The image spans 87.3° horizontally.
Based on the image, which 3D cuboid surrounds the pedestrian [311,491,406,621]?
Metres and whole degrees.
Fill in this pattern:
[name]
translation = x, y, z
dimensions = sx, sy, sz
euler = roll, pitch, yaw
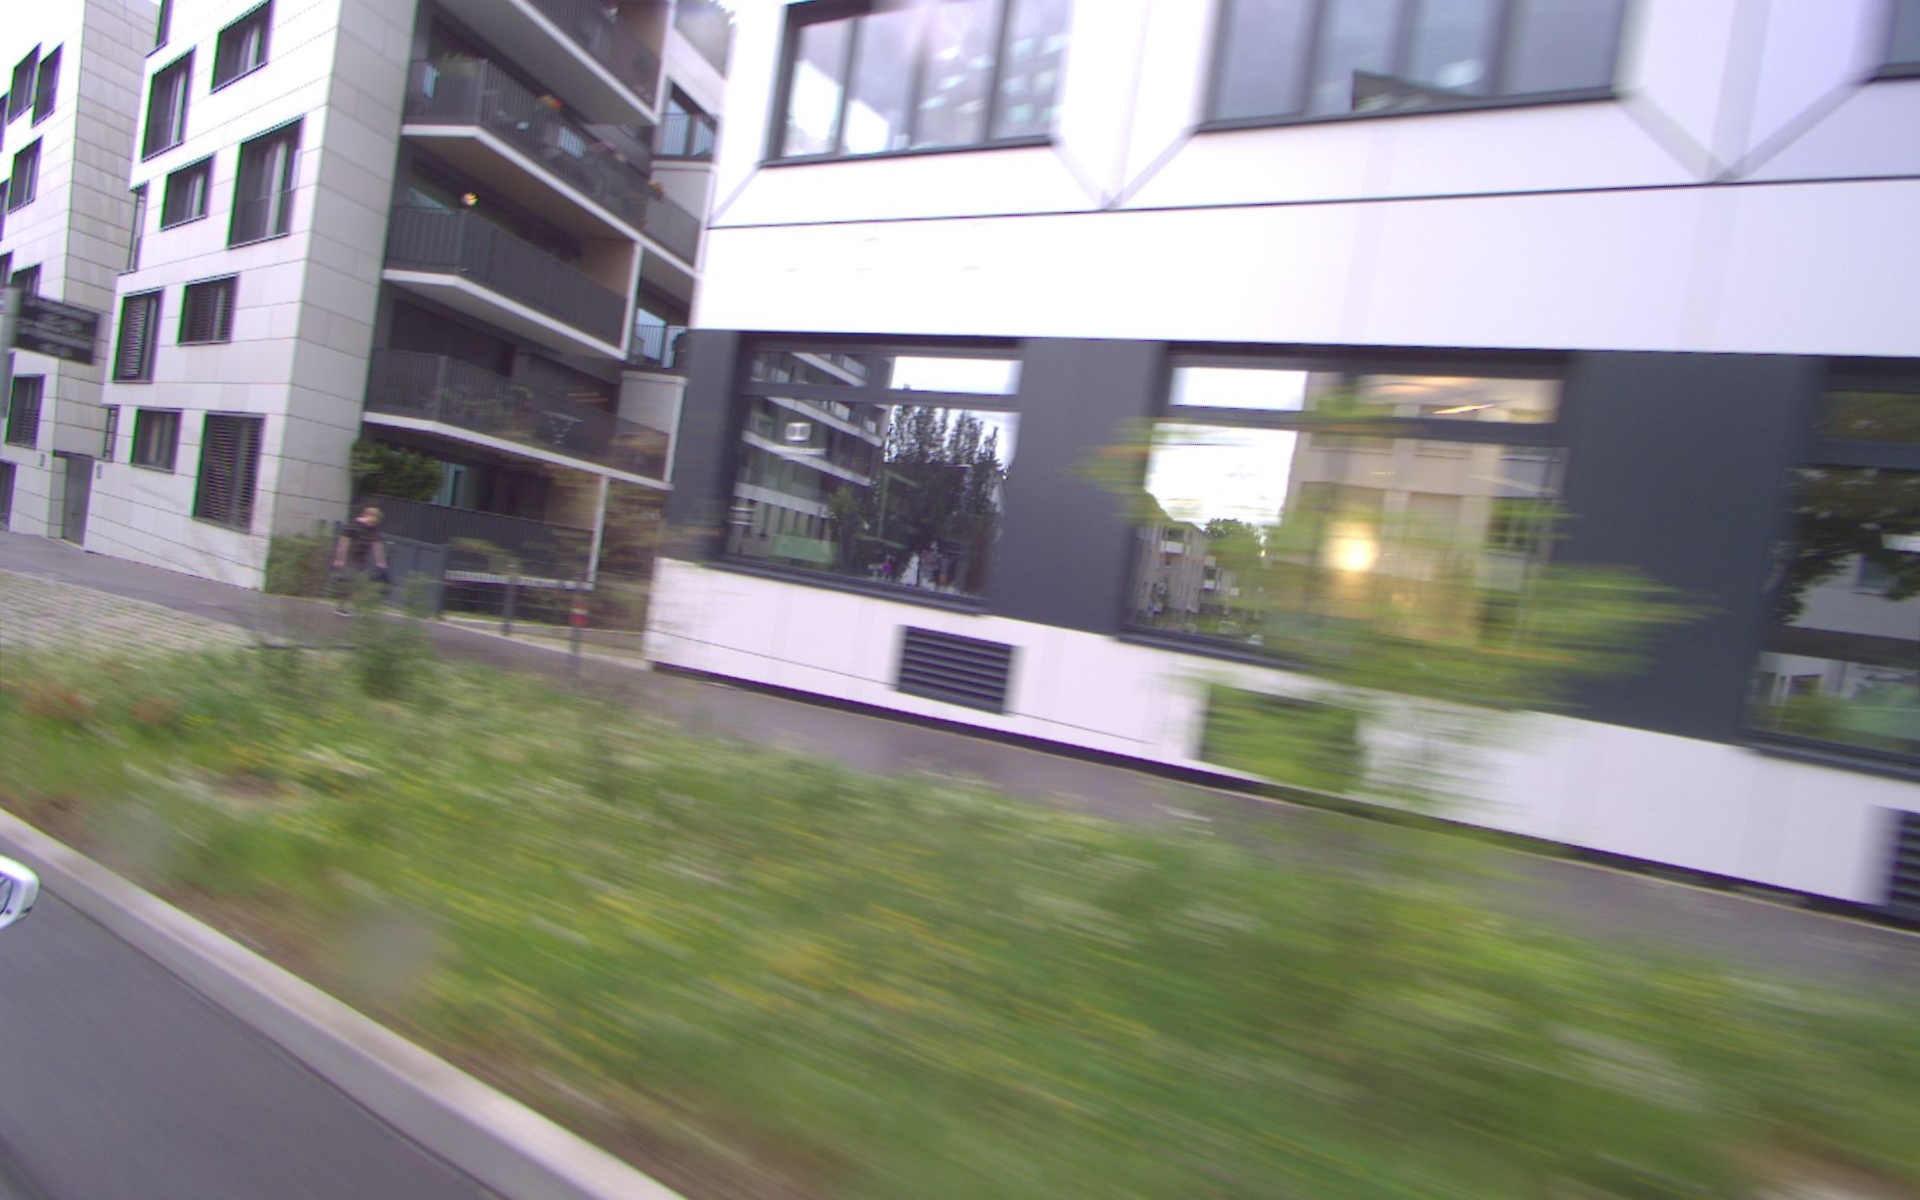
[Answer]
[pedestrian]
translation = -9.022, -0.645, 15.106
dimensions = 0.765, 1.818, 0.823
euler = 7, 1, 33
